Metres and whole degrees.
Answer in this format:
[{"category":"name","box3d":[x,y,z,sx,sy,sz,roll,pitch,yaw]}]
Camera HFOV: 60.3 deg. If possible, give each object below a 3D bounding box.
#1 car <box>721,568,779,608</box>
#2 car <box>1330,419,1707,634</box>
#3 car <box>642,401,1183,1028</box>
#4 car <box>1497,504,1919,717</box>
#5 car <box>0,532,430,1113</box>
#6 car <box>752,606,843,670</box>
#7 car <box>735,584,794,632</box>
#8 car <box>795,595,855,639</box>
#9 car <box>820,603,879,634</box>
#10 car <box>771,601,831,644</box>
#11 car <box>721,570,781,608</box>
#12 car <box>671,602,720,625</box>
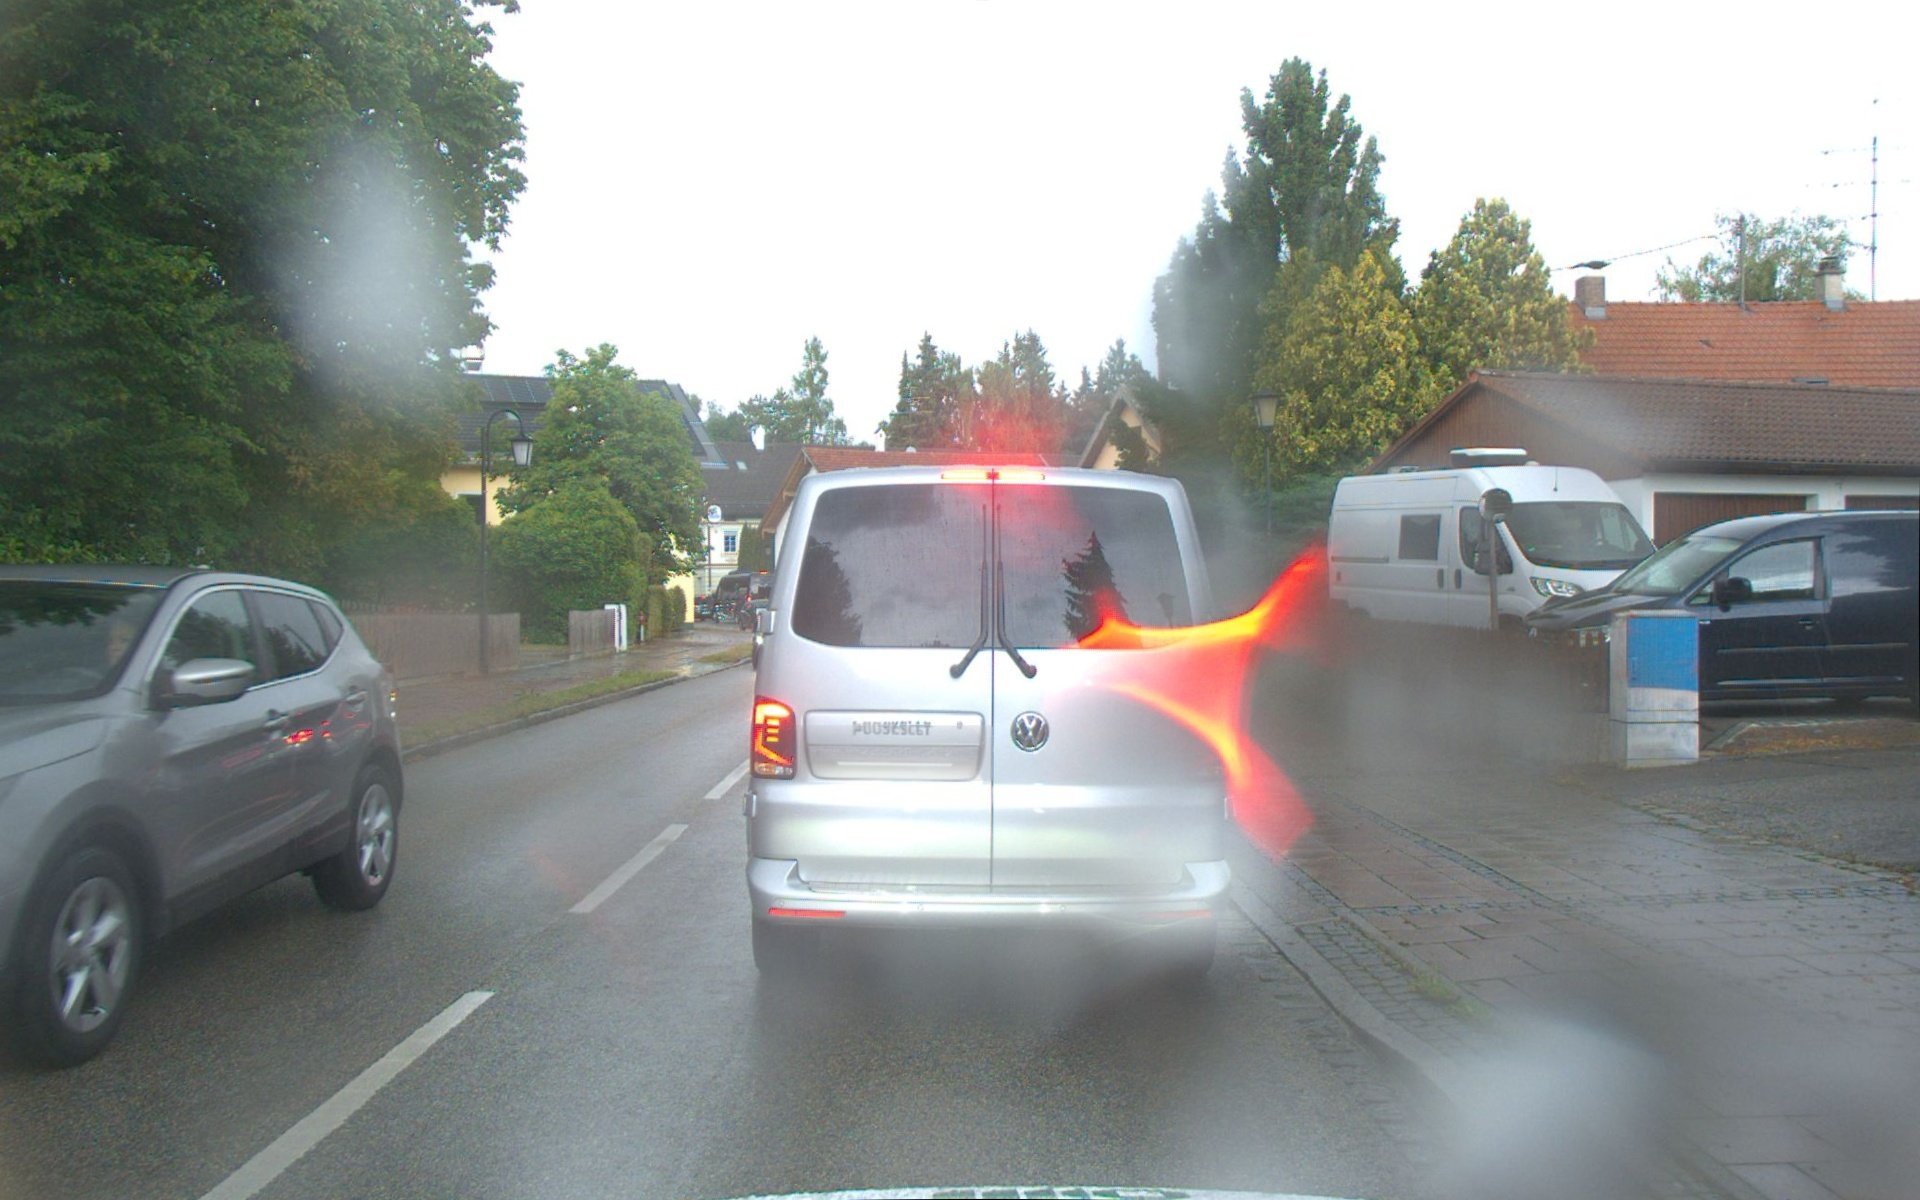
[{"category":"car","box3d":[-11.290,-0.616,88.573,1.968,2.049,3.969,2,-1,-25]},{"category":"car","box3d":[6.517,-0.755,20.016,1.960,2.211,4.934,2,-1,-14]},{"category":"car","box3d":[-0.103,0.401,7.539,1.763,2.049,4.000,1,-1,2]},{"category":"car","box3d":[7.150,0.047,15.003,4.013,1.782,1.693,-1,2,-5]},{"category":"car","box3d":[-3.548,0.637,6.261,1.790,1.586,4.176,-1,-1,-1]},{"category":"car","box3d":[-3.678,0.851,38.002,1.744,1.333,3.775,1,-1,-1]},{"category":"car","box3d":[-8.801,0.345,74.266,1.961,2.049,3.982,2,-1,-16]},{"category":"car","box3d":[-4.466,0.557,54.388,1.747,1.333,3.769,2,-1,-8]},{"category":"car","box3d":[-5.034,0.809,74.757,1.753,1.333,3.755,2,-1,-19]},{"category":"car","box3d":[-8.047,1.108,83.287,1.965,2.049,3.974,2,-1,-21]},{"category":"car","box3d":[-11.318,-0.579,89.374,1.969,1.961,3.966,2,-1,-26]},{"category":"car","box3d":[-15.789,0.804,98.523,1.760,1.333,3.741,2,-1,-28]}]
